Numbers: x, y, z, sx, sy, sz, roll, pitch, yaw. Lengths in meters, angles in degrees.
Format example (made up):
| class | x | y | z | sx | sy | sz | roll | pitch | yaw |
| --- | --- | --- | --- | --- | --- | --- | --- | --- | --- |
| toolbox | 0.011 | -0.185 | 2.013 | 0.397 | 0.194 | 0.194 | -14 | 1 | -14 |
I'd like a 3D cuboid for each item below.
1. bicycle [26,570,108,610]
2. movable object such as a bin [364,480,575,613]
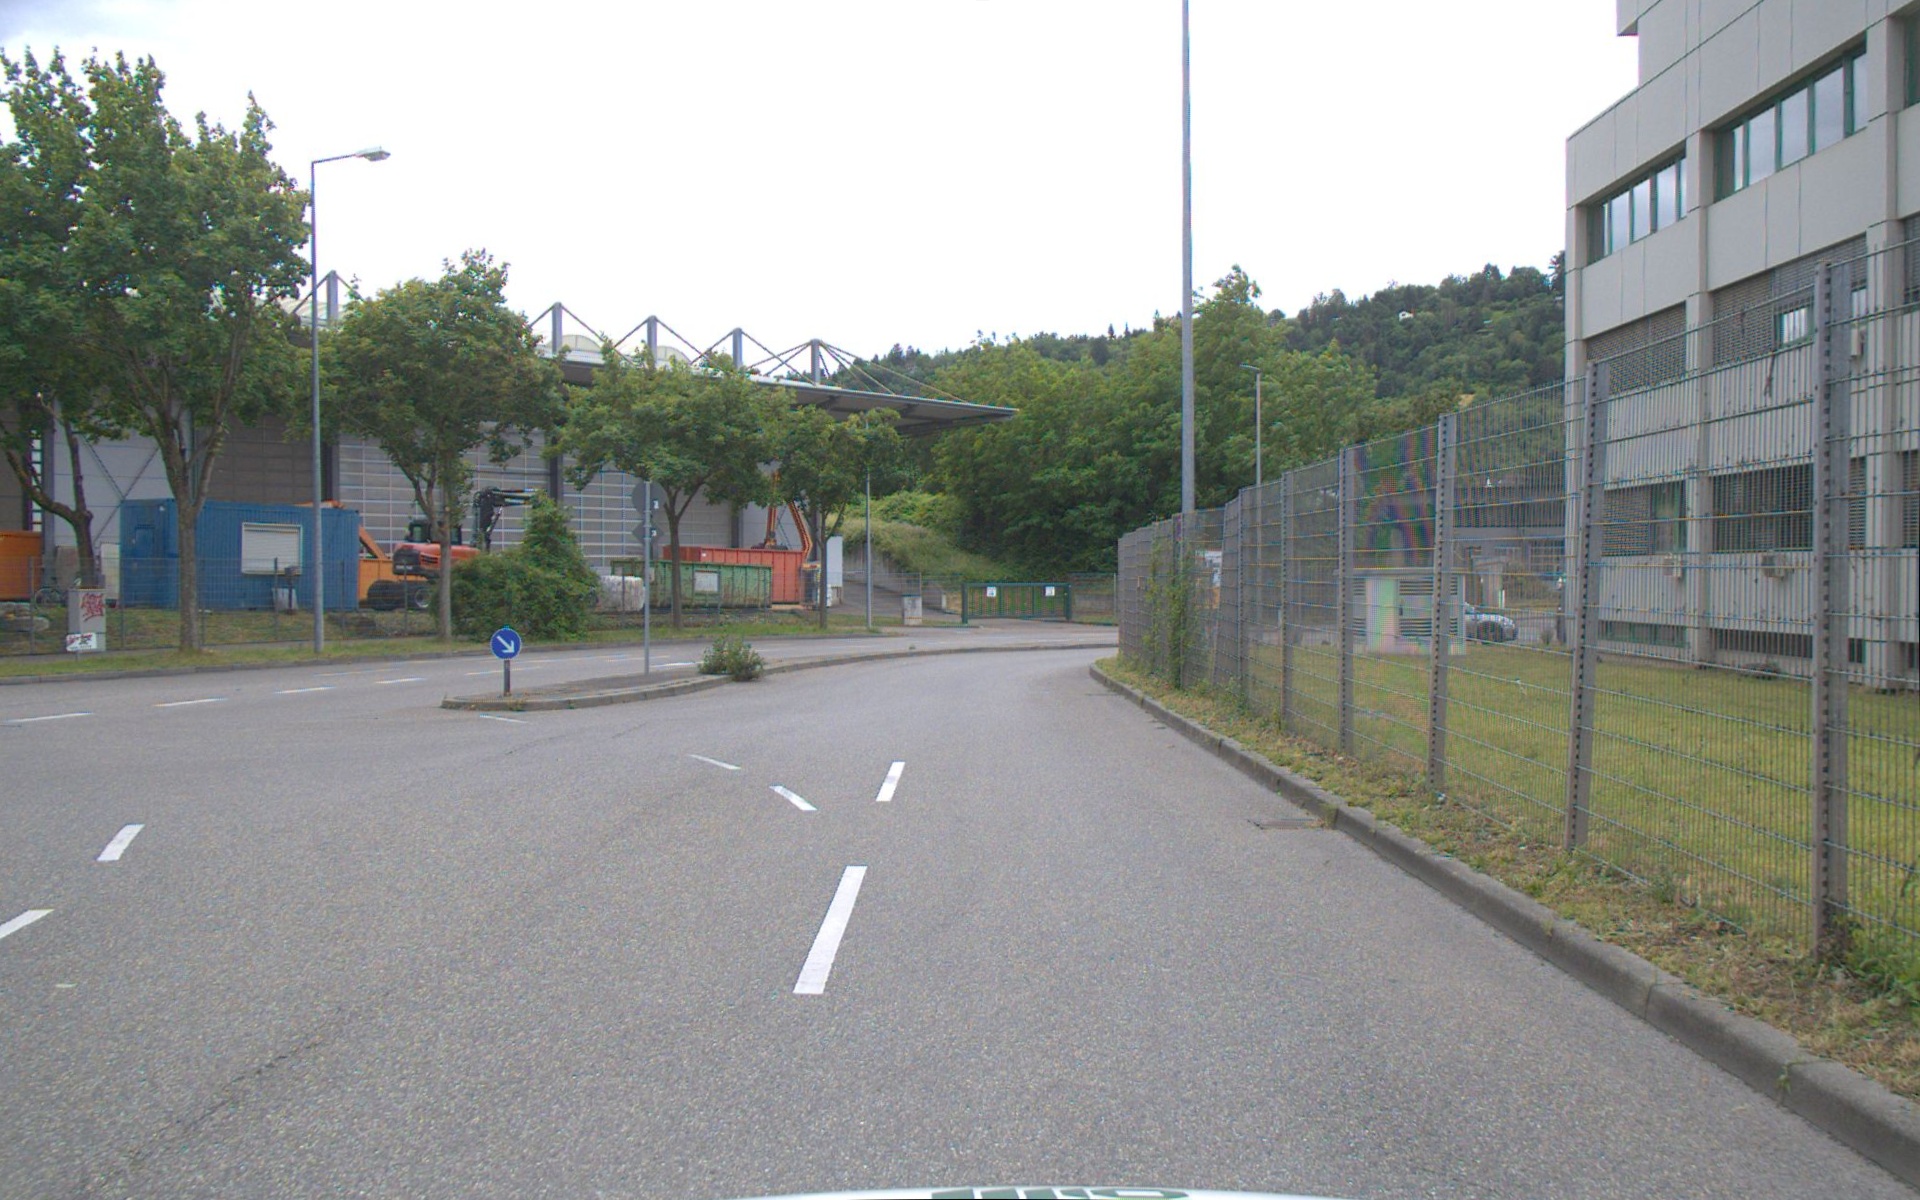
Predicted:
| class | x | y | z | sx | sy | sz | roll | pitch | yaw |
| --- | --- | --- | --- | --- | --- | --- | --- | --- | --- |
| bicycle | -23.028 | -0.272 | 42.658 | 0.649 | 0.991 | 1.756 | -1 | 1 | 33 |
| movable object such as a bin | -16.327 | -1.732 | 55.478 | 2.677 | 4.162 | 6.532 | -1 | 1 | 34 |
